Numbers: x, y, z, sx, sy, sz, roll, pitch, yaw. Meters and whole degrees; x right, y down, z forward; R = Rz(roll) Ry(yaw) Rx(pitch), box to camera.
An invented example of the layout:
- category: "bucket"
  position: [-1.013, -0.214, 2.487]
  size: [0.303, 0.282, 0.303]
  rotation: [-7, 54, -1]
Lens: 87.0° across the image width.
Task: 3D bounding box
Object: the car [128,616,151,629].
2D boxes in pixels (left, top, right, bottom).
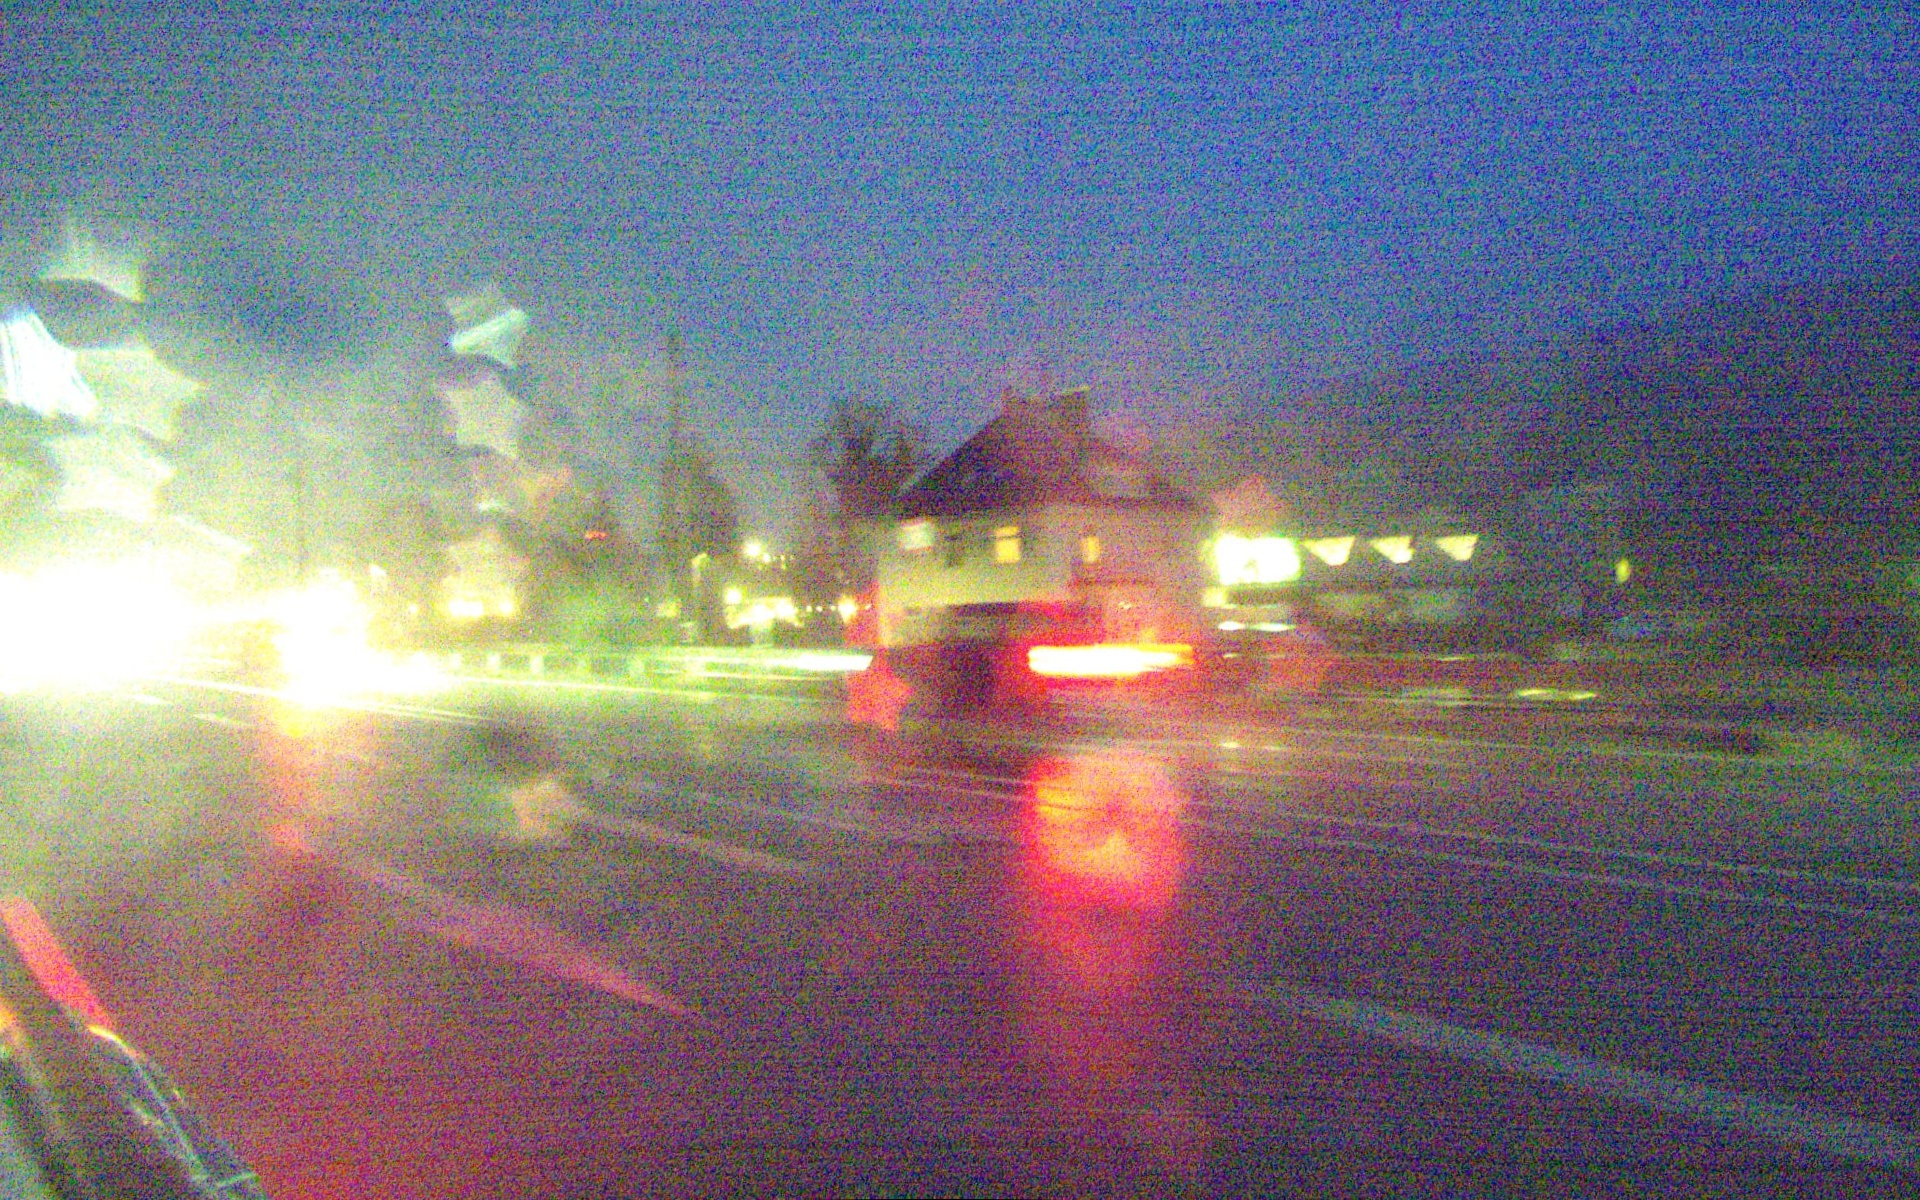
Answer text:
- category: "car"
  position: [-113.149, 3.077, 139.597]
  size: [1.967, 1.625, 4.624]
  rotation: [0, 0, -34]

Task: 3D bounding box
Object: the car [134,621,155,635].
- category: "car"
  position: [-130.486, 4.491, 161.942]
  size: [1.966, 2.029, 4.012]
  rotation: [-1, 0, -31]

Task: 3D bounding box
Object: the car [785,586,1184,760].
- category: "car"
  position: [0.206, 0.763, 12.517]
  size: [4.517, 1.758, 2.178]
  rotation: [-1, 0, 37]

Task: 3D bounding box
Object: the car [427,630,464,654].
- category: "car"
  position: [-47.659, 3.849, 93.721]
  size: [1.971, 2.029, 4.003]
  rotation: [-1, 0, -45]

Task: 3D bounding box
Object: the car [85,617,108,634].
- category: "car"
  position: [-113.792, 3.338, 133.407]
  size: [1.967, 2.029, 4.010]
  rotation: [-1, 0, -35]

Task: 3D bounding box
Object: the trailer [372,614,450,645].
- category: "trailer"
  position: [-94.579, 4.974, 174.582]
  size: [3.337, 4.832, 11.397]
  rotation: [-1, 0, 41]

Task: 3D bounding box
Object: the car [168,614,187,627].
- category: "car"
  position: [-125.834, 3.286, 162.759]
  size: [1.966, 2.090, 4.012]
  rotation: [-1, 0, -32]

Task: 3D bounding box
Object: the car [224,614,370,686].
- category: "car"
  position: [-16.593, 1.187, 25.291]
  size: [3.894, 1.612, 1.864]
  rotation: [-1, 0, 38]

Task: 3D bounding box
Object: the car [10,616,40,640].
- category: "car"
  position: [-84.846, 2.521, 91.822]
  size: [1.970, 2.029, 4.004]
  rotation: [-1, 0, -43]

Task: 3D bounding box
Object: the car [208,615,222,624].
- category: "car"
  position: [-141.649, 3.639, 192.442]
  size: [1.664, 1.693, 3.479]
  rotation: [-1, 0, -27]
